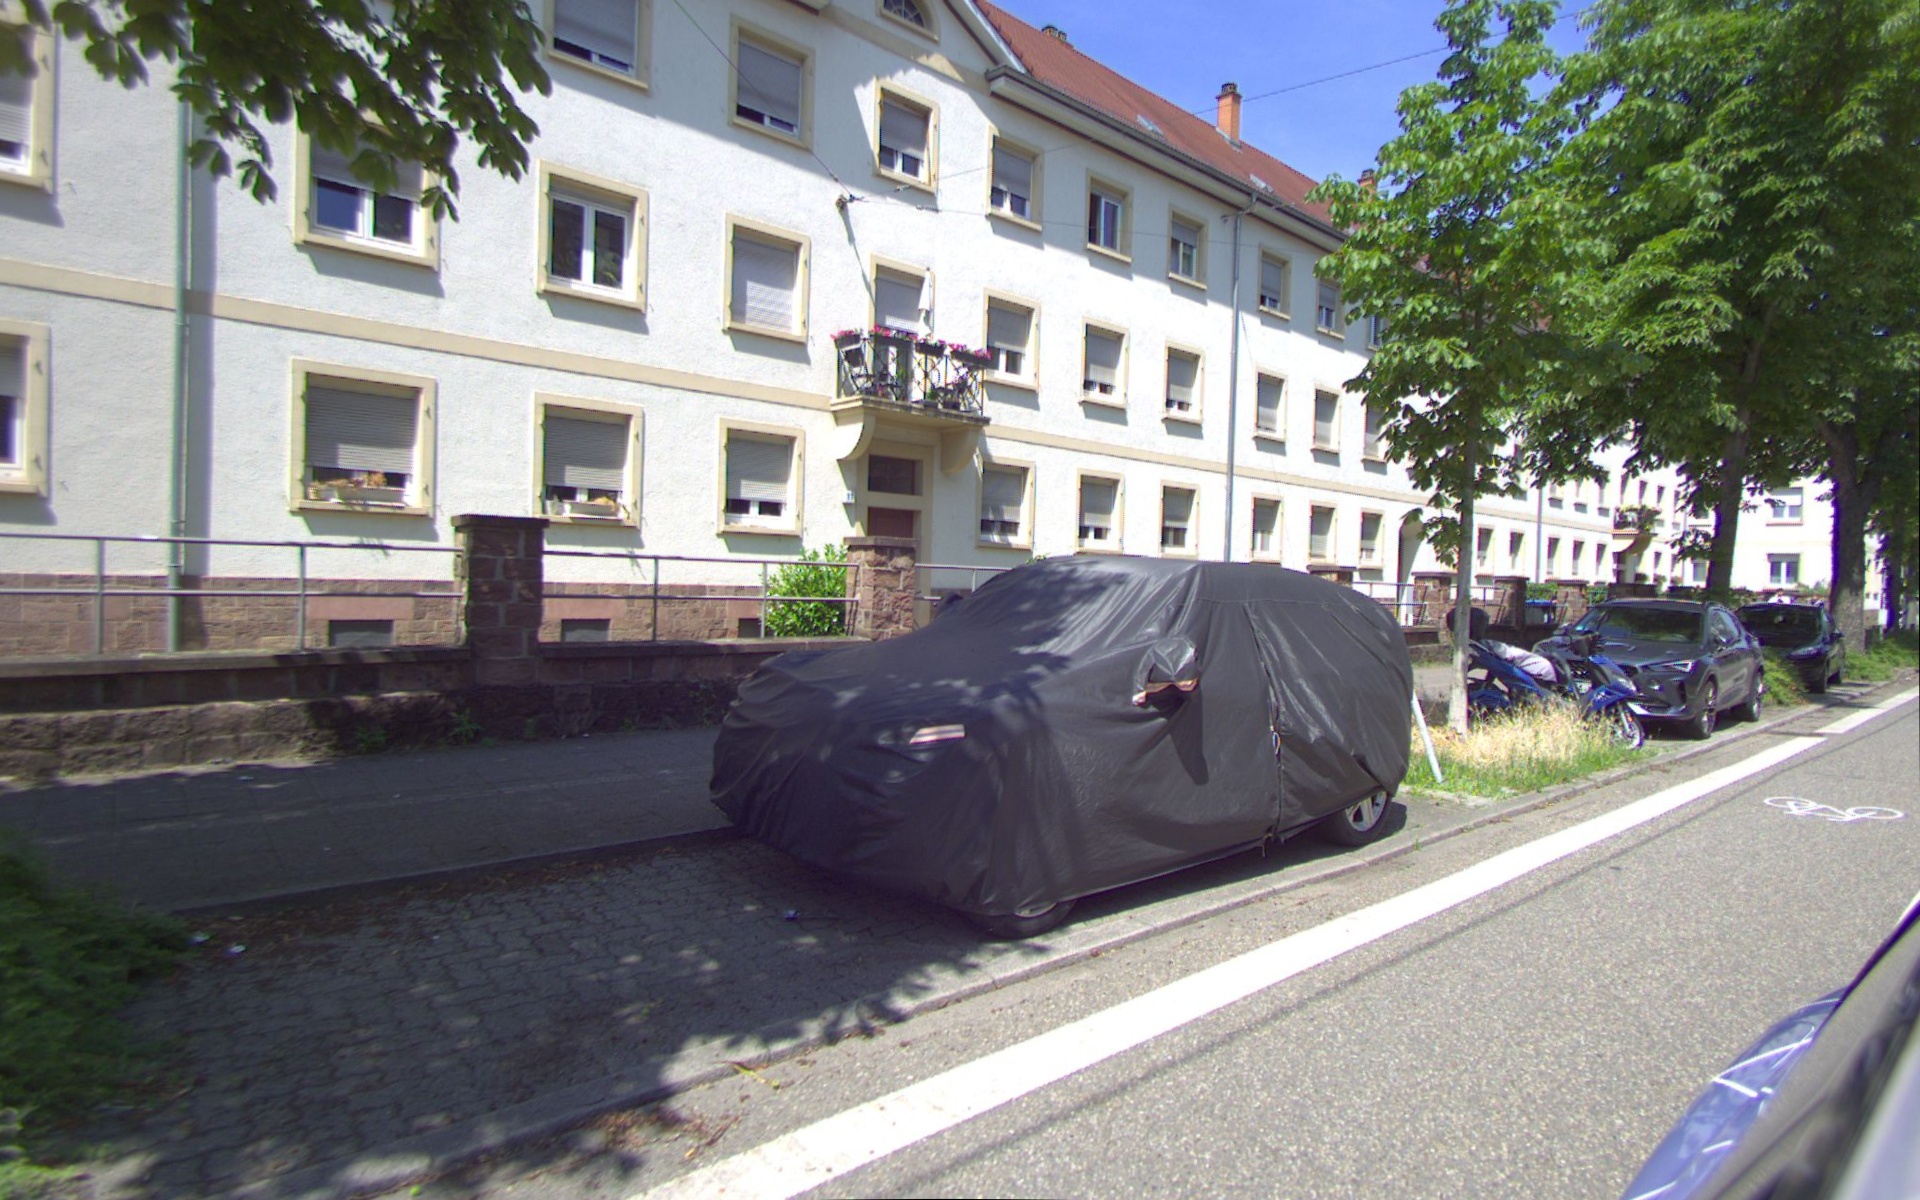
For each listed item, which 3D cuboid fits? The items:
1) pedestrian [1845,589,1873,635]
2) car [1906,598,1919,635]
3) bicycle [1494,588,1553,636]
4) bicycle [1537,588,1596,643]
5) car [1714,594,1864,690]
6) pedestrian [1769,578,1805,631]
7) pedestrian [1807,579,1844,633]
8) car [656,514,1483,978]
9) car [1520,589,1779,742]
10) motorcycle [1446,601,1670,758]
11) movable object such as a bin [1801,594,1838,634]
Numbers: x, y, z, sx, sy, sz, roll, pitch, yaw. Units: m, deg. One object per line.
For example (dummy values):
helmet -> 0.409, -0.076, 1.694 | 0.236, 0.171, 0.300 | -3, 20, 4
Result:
pedestrian -> 33.444, 0.436, 37.638 | 0.743, 1.690, 0.698 | 0, 0, -42
car -> 39.925, 0.711, 41.093 | 4.085, 1.427, 1.781 | 0, 5, -42
bicycle -> 14.426, 0.291, 25.901 | 1.934, 1.139, 0.598 | 0, 4, -40
bicycle -> 14.478, 0.357, 24.150 | 1.935, 1.224, 0.598 | 0, 3, -41
car -> 15.203, 0.676, 18.489 | 3.933, 1.534, 1.658 | 0, 1, -44
pedestrian -> 26.900, 0.137, 32.916 | 0.743, 1.690, 0.699 | 0, 3, -42
pedestrian -> 27.719, 0.179, 32.419 | 0.854, 1.690, 0.699 | 0, 3, -42
car -> 0.922, 0.509, 5.895 | 4.790, 1.671, 1.952 | 0, 1, -38
car -> 8.692, 0.667, 12.599 | 4.378, 1.571, 1.735 | 0, 1, -43
motorcycle -> 6.110, 0.751, 10.408 | 1.911, 1.451, 0.662 | 1, 0, 41
movable object such as a bin -> 27.014, 0.424, 31.792 | 1.018, 1.200, 0.699 | 0, 3, -42
